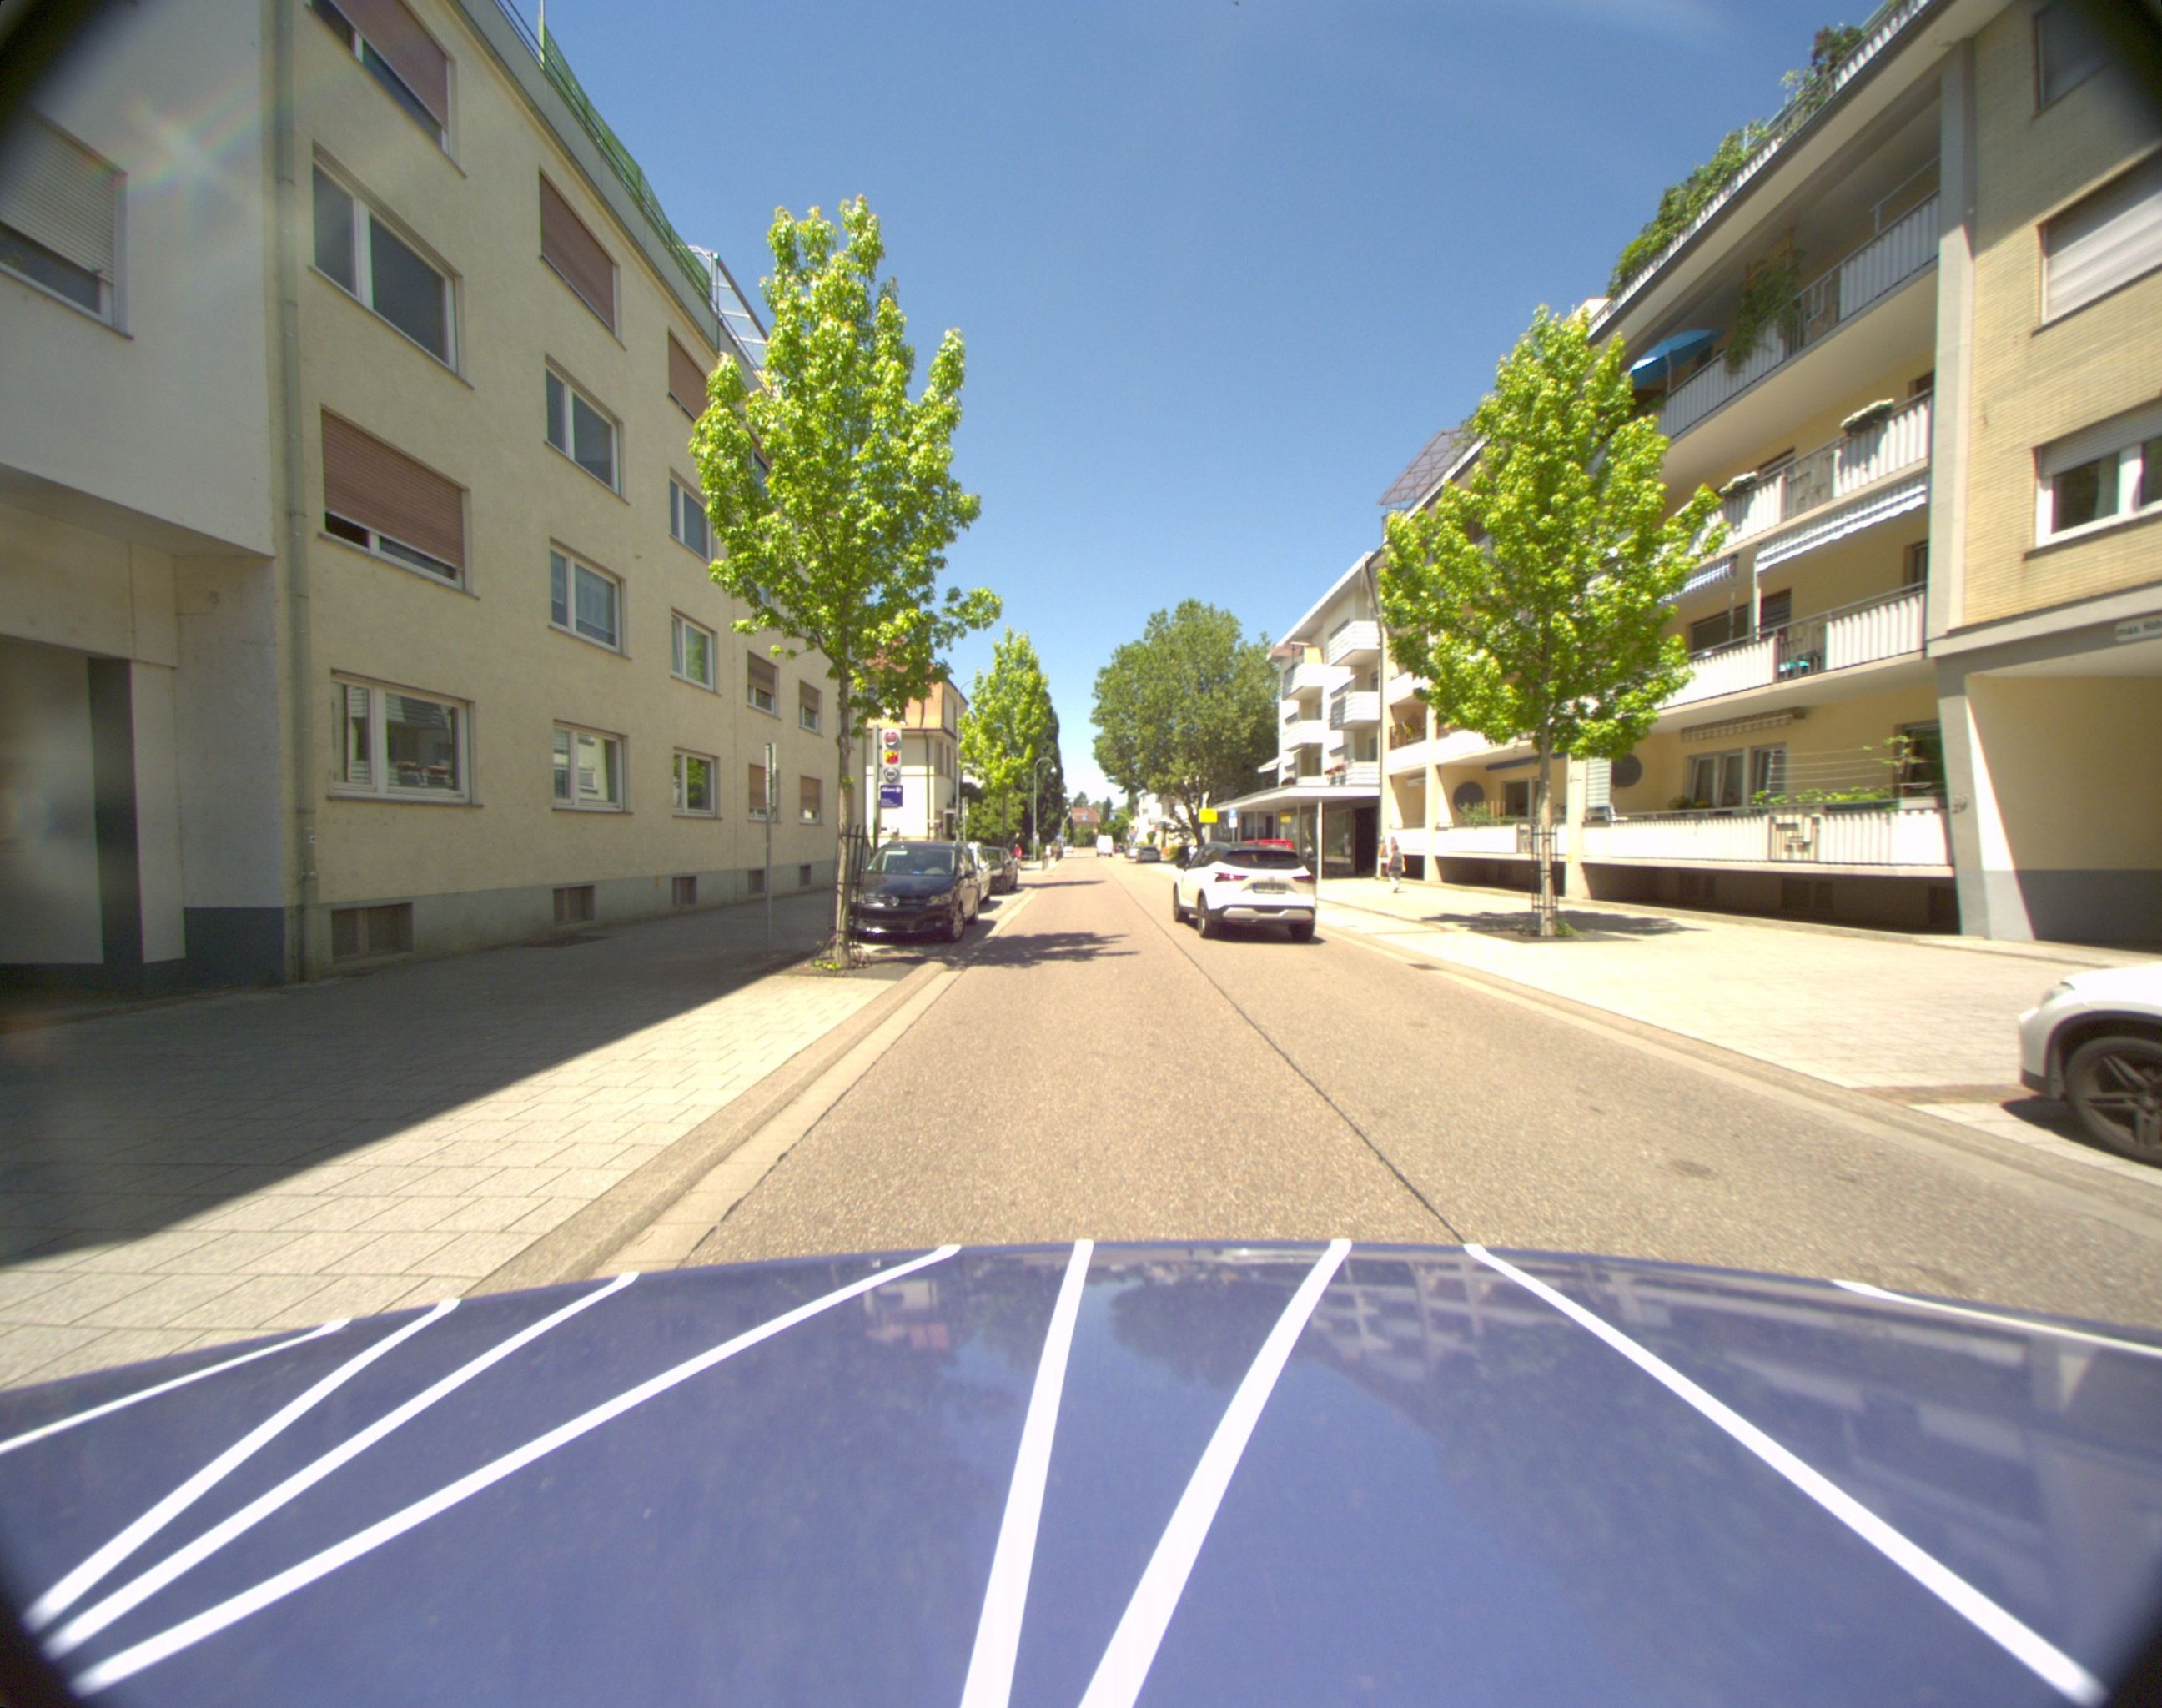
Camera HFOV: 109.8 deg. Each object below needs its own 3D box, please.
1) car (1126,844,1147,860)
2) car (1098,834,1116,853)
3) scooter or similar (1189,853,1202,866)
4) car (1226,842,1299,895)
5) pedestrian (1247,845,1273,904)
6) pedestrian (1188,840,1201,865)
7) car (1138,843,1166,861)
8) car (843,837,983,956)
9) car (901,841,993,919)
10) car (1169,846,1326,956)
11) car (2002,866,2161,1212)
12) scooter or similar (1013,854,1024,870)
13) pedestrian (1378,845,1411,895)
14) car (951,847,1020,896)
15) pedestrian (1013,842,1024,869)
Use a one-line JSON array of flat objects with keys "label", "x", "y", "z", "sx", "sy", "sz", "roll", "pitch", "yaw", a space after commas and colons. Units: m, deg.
[{"label": "car", "x": 6.117, "y": -0.248, "z": 84.038, "sx": 1.998, "sy": 1.630, "sz": 3.999, "roll": 0, "pitch": 1, "yaw": 0}, {"label": "car", "x": 3.335, "y": -1.334, "z": 98.967, "sx": 2.231, "sy": 2.452, "sz": 5.248, "roll": 0, "pitch": 1, "yaw": 1}, {"label": "scooter or similar", "x": 8.024, "y": 0.374, "z": 53.314, "sx": 0.639, "sy": 0.920, "sz": 0.742, "roll": -1, "pitch": 1, "yaw": -23}, {"label": "car", "x": 6.076, "y": 0.436, "z": 25.754, "sx": 1.644, "sy": 1.652, "sz": 3.370, "roll": -2, "pitch": 1, "yaw": 1}, {"label": "pedestrian", "x": 5.530, "y": 0.623, "z": 23.517, "sx": 0.667, "sy": 1.794, "sz": 0.686, "roll": 0, "pitch": 1, "yaw": 6}, {"label": "pedestrian", "x": 8.105, "y": -0.083, "z": 54.392, "sx": 0.639, "sy": 1.782, "sz": 0.742, "roll": -1, "pitch": 1, "yaw": -23}, {"label": "car", "x": 5.955, "y": -0.214, "z": 64.007, "sx": 1.998, "sy": 1.499, "sz": 3.999, "roll": 0, "pitch": 1, "yaw": 1}, {"label": "car", "x": -2.759, "y": 0.622, "z": 13.343, "sx": 1.693, "sy": 1.712, "sz": 3.998, "roll": 2, "pitch": 1, "yaw": -3}, {"label": "car", "x": -3.184, "y": 0.537, "z": 18.800, "sx": 1.693, "sy": 1.712, "sz": 4.132, "roll": 0, "pitch": 1, "yaw": -2}, {"label": "car", "x": 2.810, "y": 0.709, "z": 13.852, "sx": 1.776, "sy": 1.623, "sz": 4.298, "roll": 2, "pitch": 1, "yaw": -1}, {"label": "car", "x": 5.866, "y": 0.888, "z": 2.021, "sx": 1.699, "sy": 1.583, "sz": 4.299, "roll": -2, "pitch": 1, "yaw": 2}, {"label": "scooter or similar", "x": -3.681, "y": 0.491, "z": 44.571, "sx": 0.625, "sy": 0.927, "sz": 0.735, "roll": 0, "pitch": 1, "yaw": -2}, {"label": "pedestrian", "x": 9.430, "y": 0.465, "z": 22.868, "sx": 0.778, "sy": 1.490, "sz": 0.698, "roll": 0, "pitch": 1, "yaw": 12}, {"label": "car", "x": -3.075, "y": 0.520, "z": 25.125, "sx": 1.692, "sy": 1.479, "sz": 4.133, "roll": 0, "pitch": 1, "yaw": 1}, {"label": "pedestrian", "x": -3.708, "y": 0.088, "z": 45.307, "sx": 0.625, "sy": 1.597, "sz": 0.735, "roll": 0, "pitch": 1, "yaw": -2}]
